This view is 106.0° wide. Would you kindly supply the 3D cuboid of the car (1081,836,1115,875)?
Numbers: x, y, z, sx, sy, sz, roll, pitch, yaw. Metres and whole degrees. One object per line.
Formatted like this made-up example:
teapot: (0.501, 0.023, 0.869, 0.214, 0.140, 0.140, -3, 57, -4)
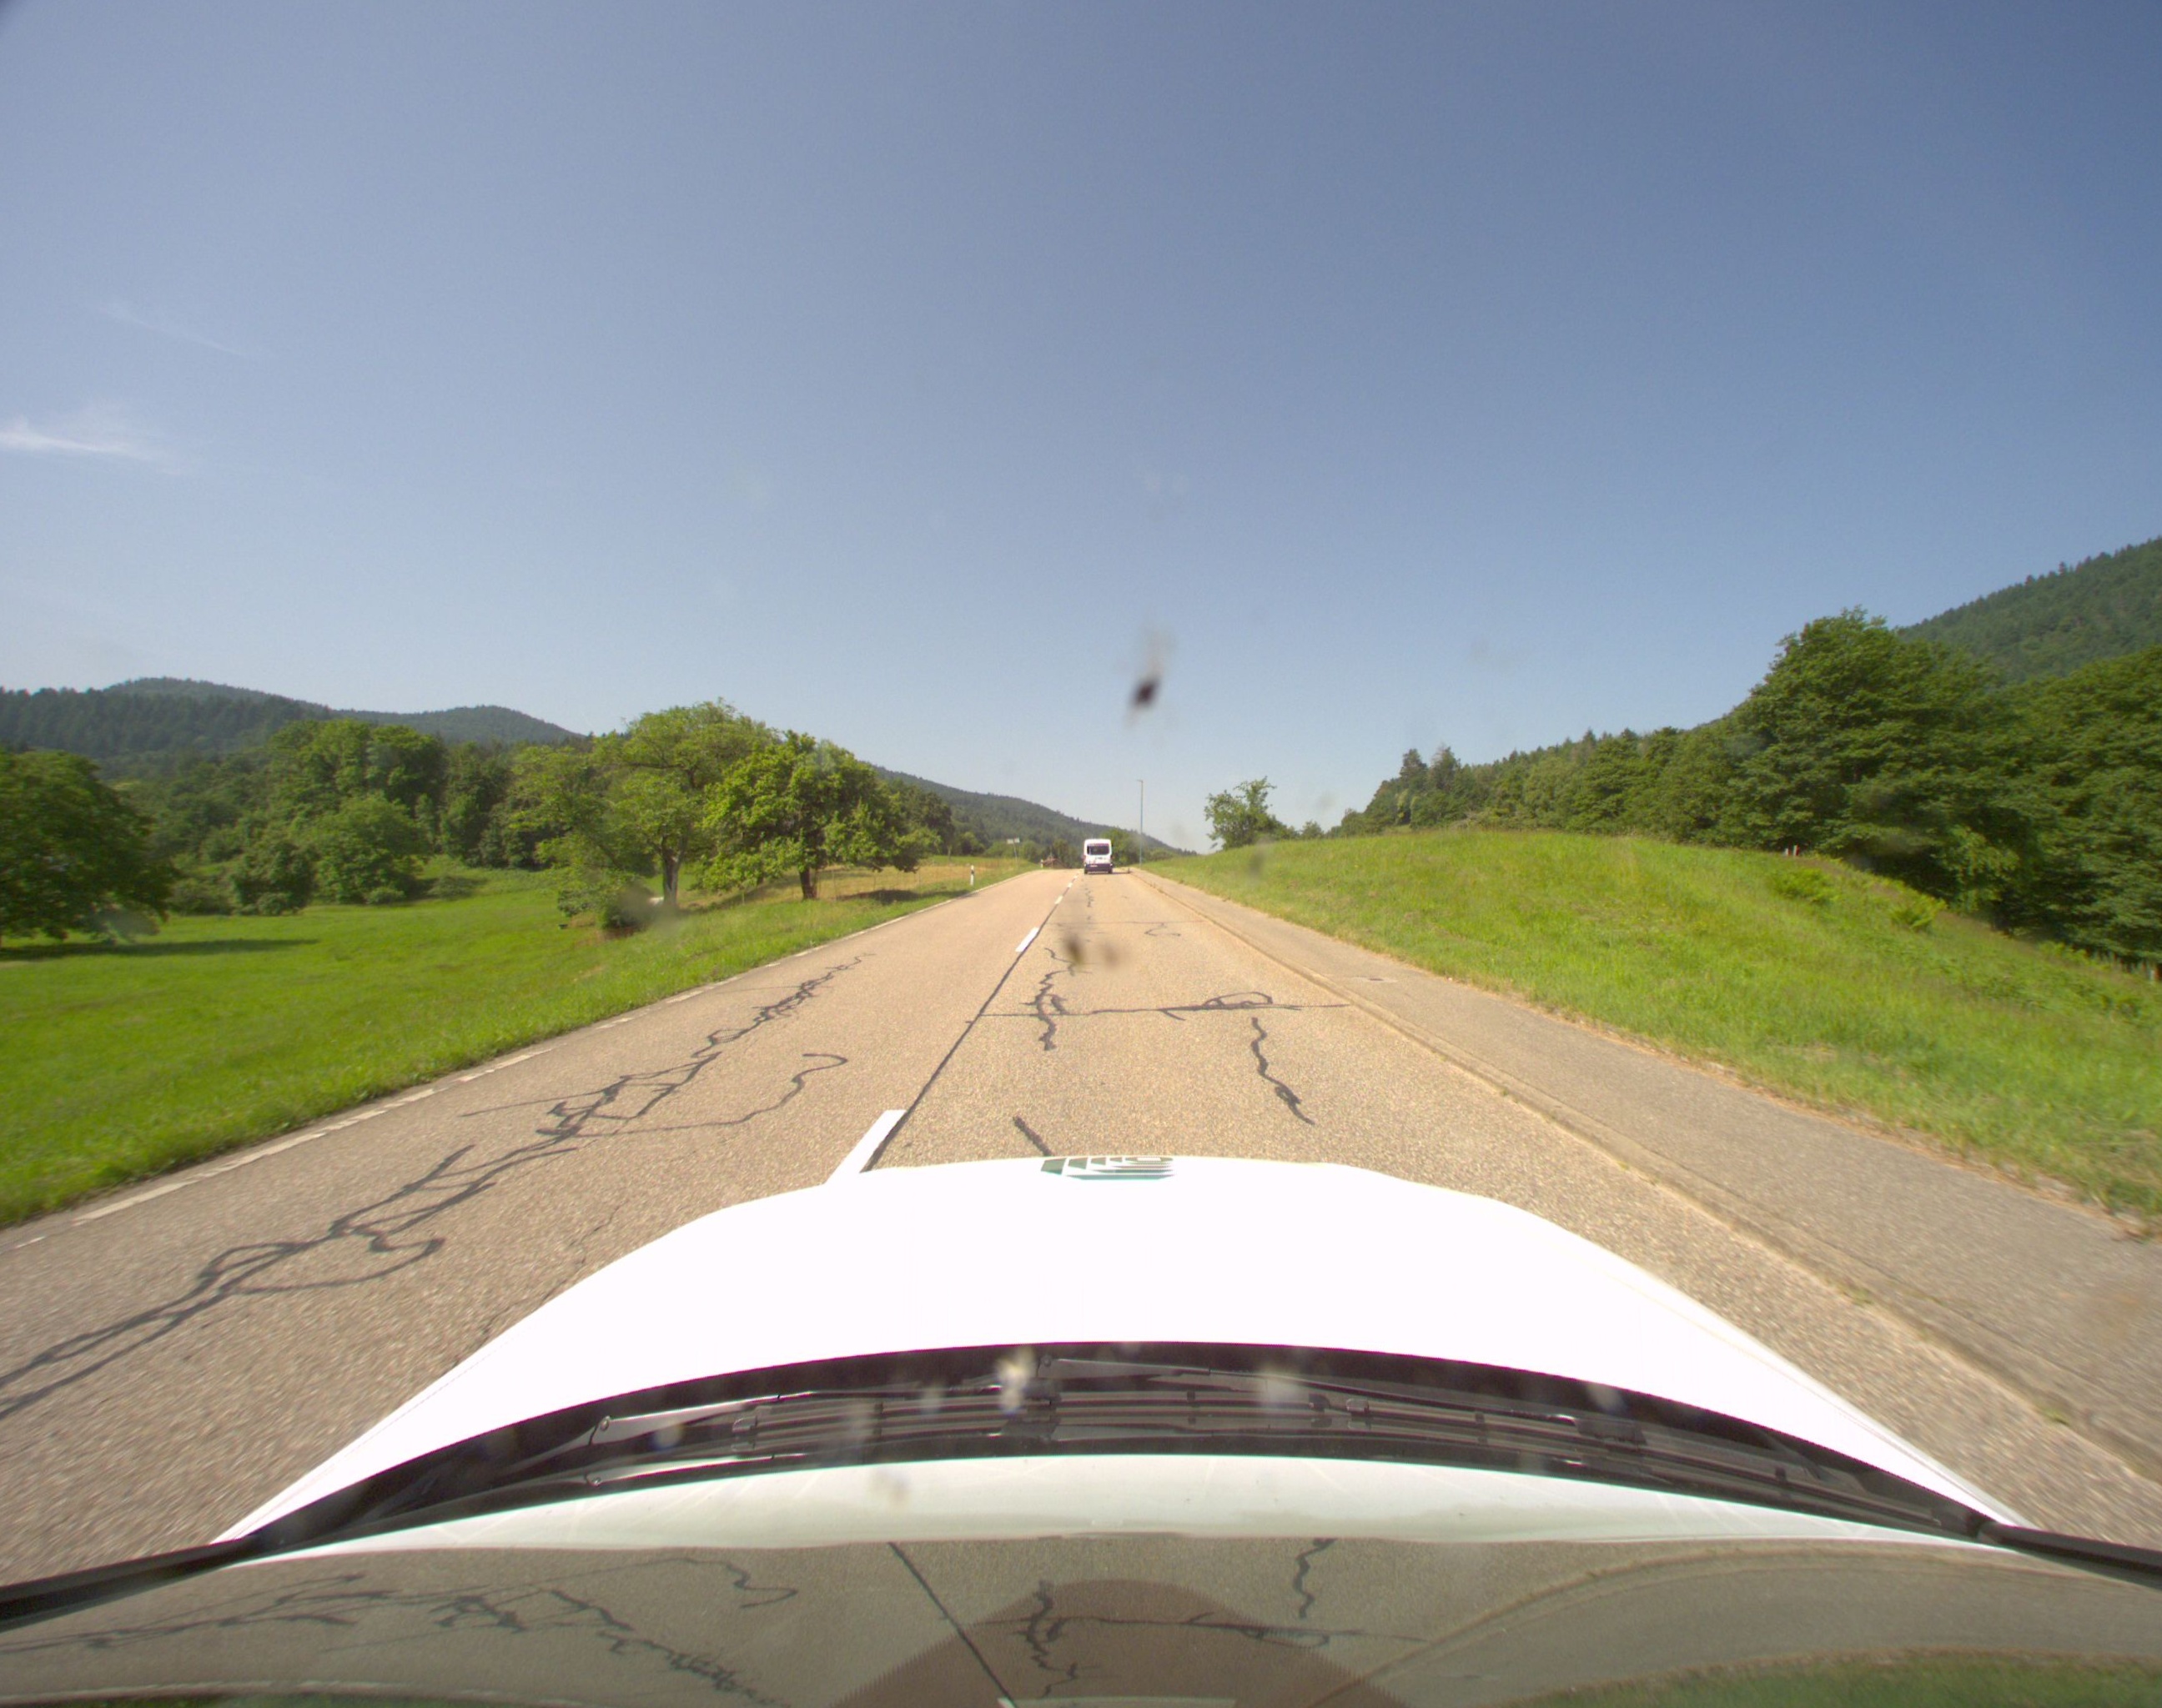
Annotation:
car: (1.202, 0.145, 58.798, 2.215, 2.526, 4.984, -3, -2, 1)
